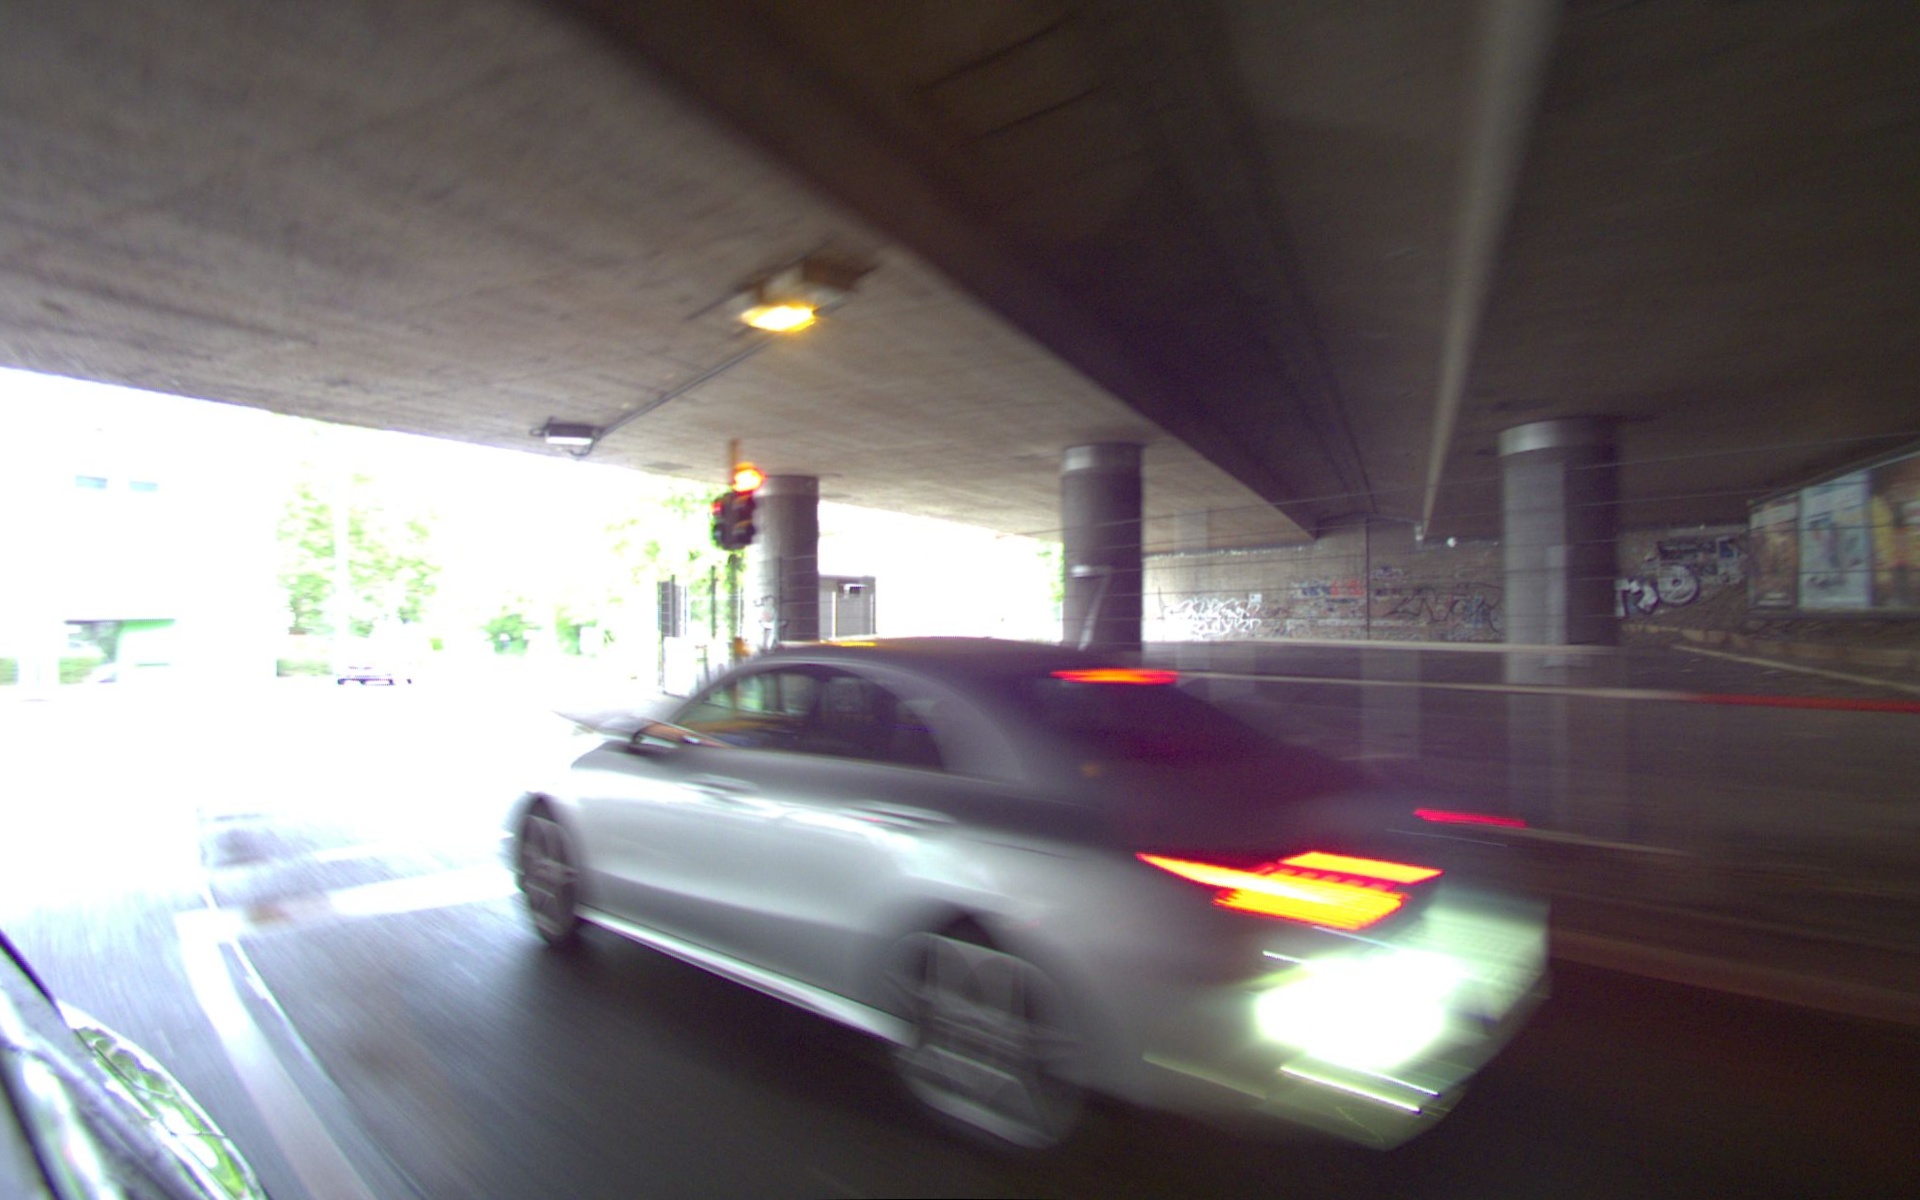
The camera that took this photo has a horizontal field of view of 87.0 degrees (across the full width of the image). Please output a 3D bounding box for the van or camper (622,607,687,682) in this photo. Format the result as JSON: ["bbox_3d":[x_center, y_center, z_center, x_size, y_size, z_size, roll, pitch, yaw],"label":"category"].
[{"bbox_3d":[-14.961,2.259,49.989,2.662,3.360,7.781,0,-3,-14],"label":"van or camper"}]

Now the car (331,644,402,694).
[{"bbox_3d":[-19.983,2.312,34.219,1.679,1.569,4.013,0,-4,-25],"label":"car"}]

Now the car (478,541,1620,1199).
[{"bbox_3d":[-0.112,0.749,4.228,4.501,1.542,1.971,-2,-3,44],"label":"car"}]
